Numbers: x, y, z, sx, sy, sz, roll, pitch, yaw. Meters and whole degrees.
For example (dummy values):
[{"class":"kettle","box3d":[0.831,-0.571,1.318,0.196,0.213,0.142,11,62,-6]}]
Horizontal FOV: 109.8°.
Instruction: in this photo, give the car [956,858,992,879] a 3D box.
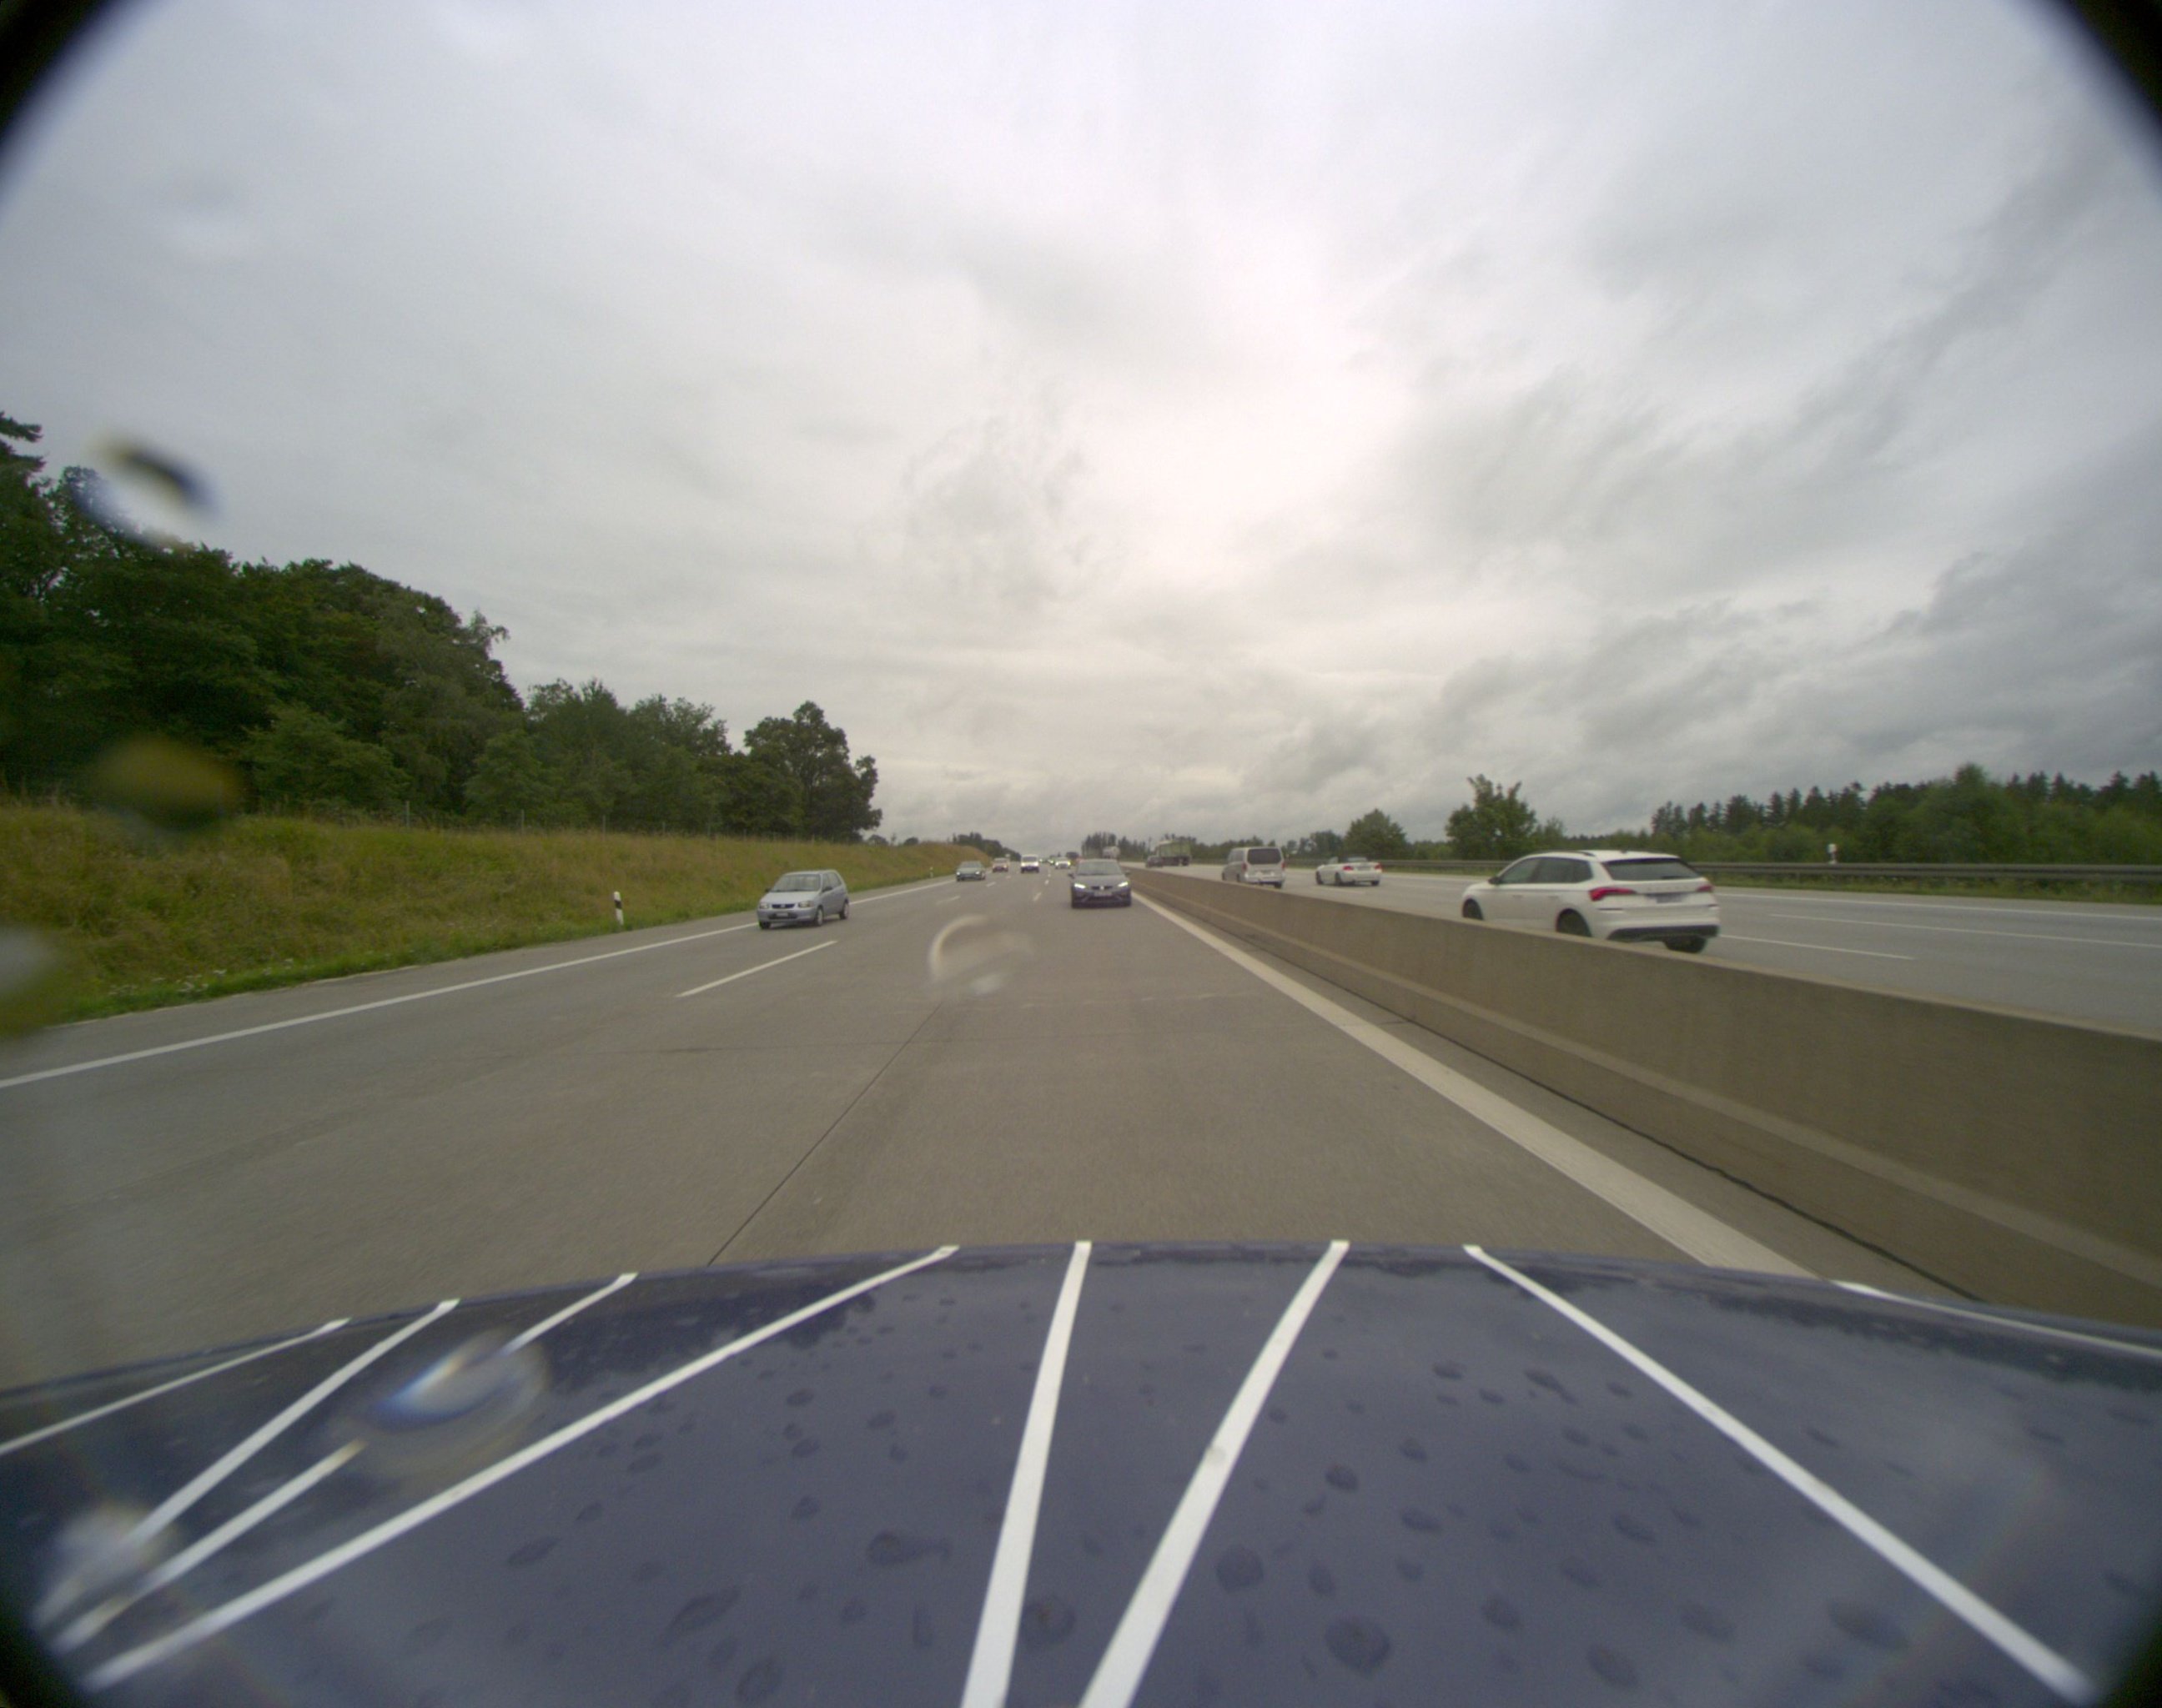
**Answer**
[{"class":"car","box3d":[-8.189,1.113,58.342,2.019,1.437,4.745,-3,-1,0]}]

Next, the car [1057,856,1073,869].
[{"class":"car","box3d":[-2.032,1.091,98.735,1.999,1.632,5.043,1,-1,0]}]

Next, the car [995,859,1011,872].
[{"class":"car","box3d":[-9.429,1.397,91.701,1.790,1.595,4.569,1,-1,-6]}]

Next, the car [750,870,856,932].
[{"class":"car","box3d":[-7.267,1.180,20.204,1.489,1.462,3.505,-2,-1,0]}]

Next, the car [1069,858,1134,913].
[{"class":"car","box3d":[0.585,0.903,23.620,1.790,1.472,4.570,-1,0,0]}]

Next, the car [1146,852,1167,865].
[{"class":"car","box3d":[9.742,0.572,98.273,1.999,1.580,4.770,-2,0,-2]}]

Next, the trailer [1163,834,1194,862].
[{"class":"trailer","box3d":[13.768,-0.830,107.550,2.757,3.777,9.313,-2,0,-2]}]

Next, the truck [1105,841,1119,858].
[{"class":"truck","box3d":[7.760,-1.121,192.084,2.755,3.975,6.928,-2,-1,-4]}]

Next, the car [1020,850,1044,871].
[{"class":"car","box3d":[-5.099,0.689,80.106,2.043,2.111,6.069,1,-1,1]}]

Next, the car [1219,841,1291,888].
[{"class":"car","box3d":[7.946,0.500,35.241,1.999,2.001,5.525,-1,-1,-1]}]

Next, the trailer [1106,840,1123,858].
[{"class":"trailer","box3d":[8.162,-1.236,185.791,2.766,3.974,12.287,-2,-1,-3]}]

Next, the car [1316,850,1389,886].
[{"class":"car","box3d":[12.066,0.631,34.051,1.741,1.359,4.098,-5,-1,1]}]

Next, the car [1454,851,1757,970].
[{"class":"car","box3d":[7.612,0.755,11.639,1.719,1.412,4.214,-3,-1,1]}]

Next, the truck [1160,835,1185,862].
[{"class":"truck","box3d":[13.588,-0.848,113.139,2.758,3.780,5.529,-2,1,-1]}]
